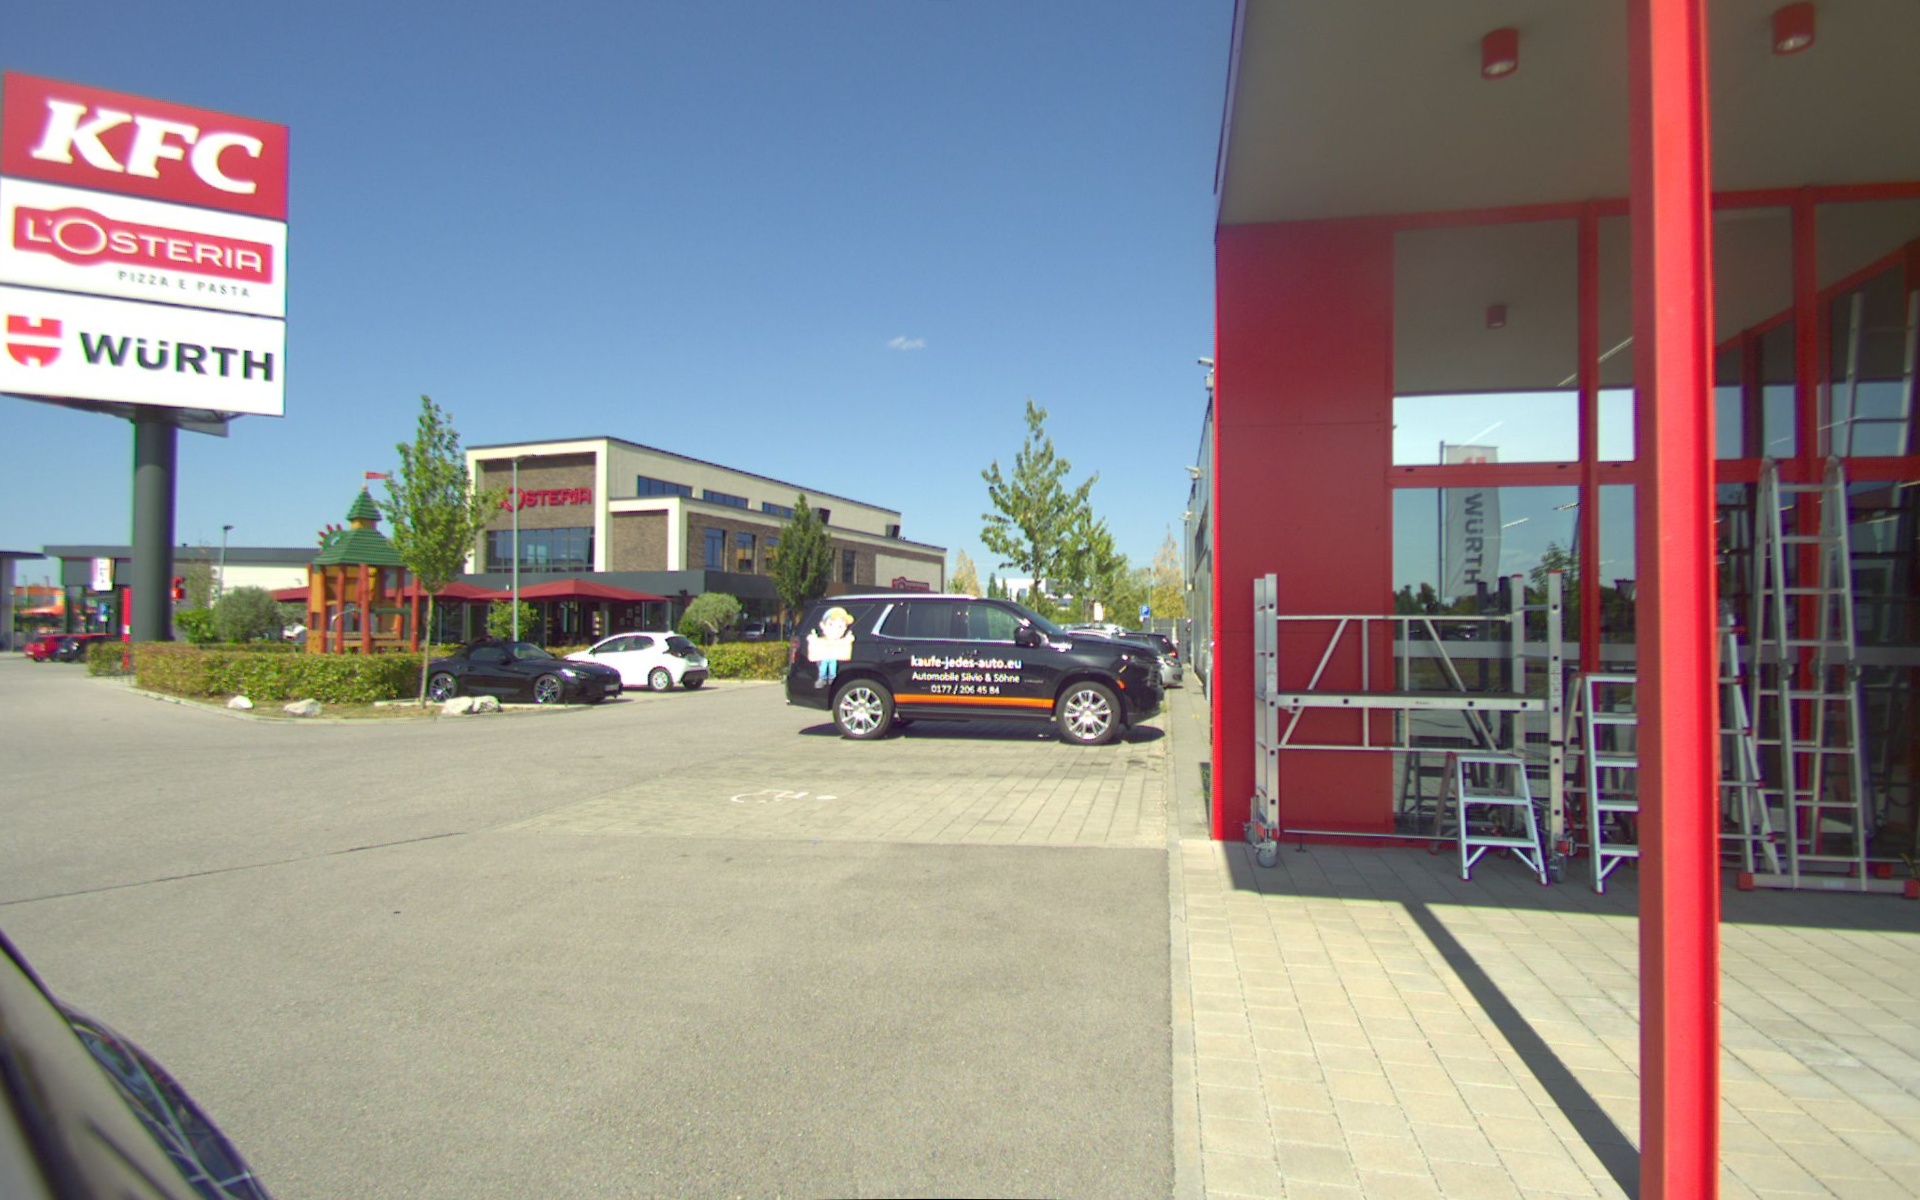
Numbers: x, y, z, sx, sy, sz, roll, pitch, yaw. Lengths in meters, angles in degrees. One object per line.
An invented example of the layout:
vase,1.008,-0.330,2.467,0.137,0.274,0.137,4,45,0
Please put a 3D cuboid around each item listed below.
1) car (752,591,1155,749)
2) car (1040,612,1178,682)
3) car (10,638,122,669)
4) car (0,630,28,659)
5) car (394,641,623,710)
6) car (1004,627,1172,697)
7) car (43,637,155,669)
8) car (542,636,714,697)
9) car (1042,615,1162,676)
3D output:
car,-0.012,0.930,14.107,5.325,1.953,2.023,-1,-2,12
car,4.484,1.405,30.543,3.955,2.029,1.994,-1,-2,9
car,-47.746,2.837,54.150,1.866,1.577,4.066,-1,-2,22
car,-69.235,3.152,71.578,1.986,2.029,4.451,-1,-2,22
car,-9.418,1.537,21.240,4.109,1.348,1.824,-1,-2,11
car,3.194,1.501,24.953,3.960,1.629,1.774,-1,-2,13
car,-45.196,2.753,53.232,1.866,1.577,4.066,-1,-2,22
car,-8.498,1.673,25.995,3.879,1.486,1.794,-1,-2,16
car,4.932,1.547,35.042,3.960,2.029,1.992,-1,-2,13
